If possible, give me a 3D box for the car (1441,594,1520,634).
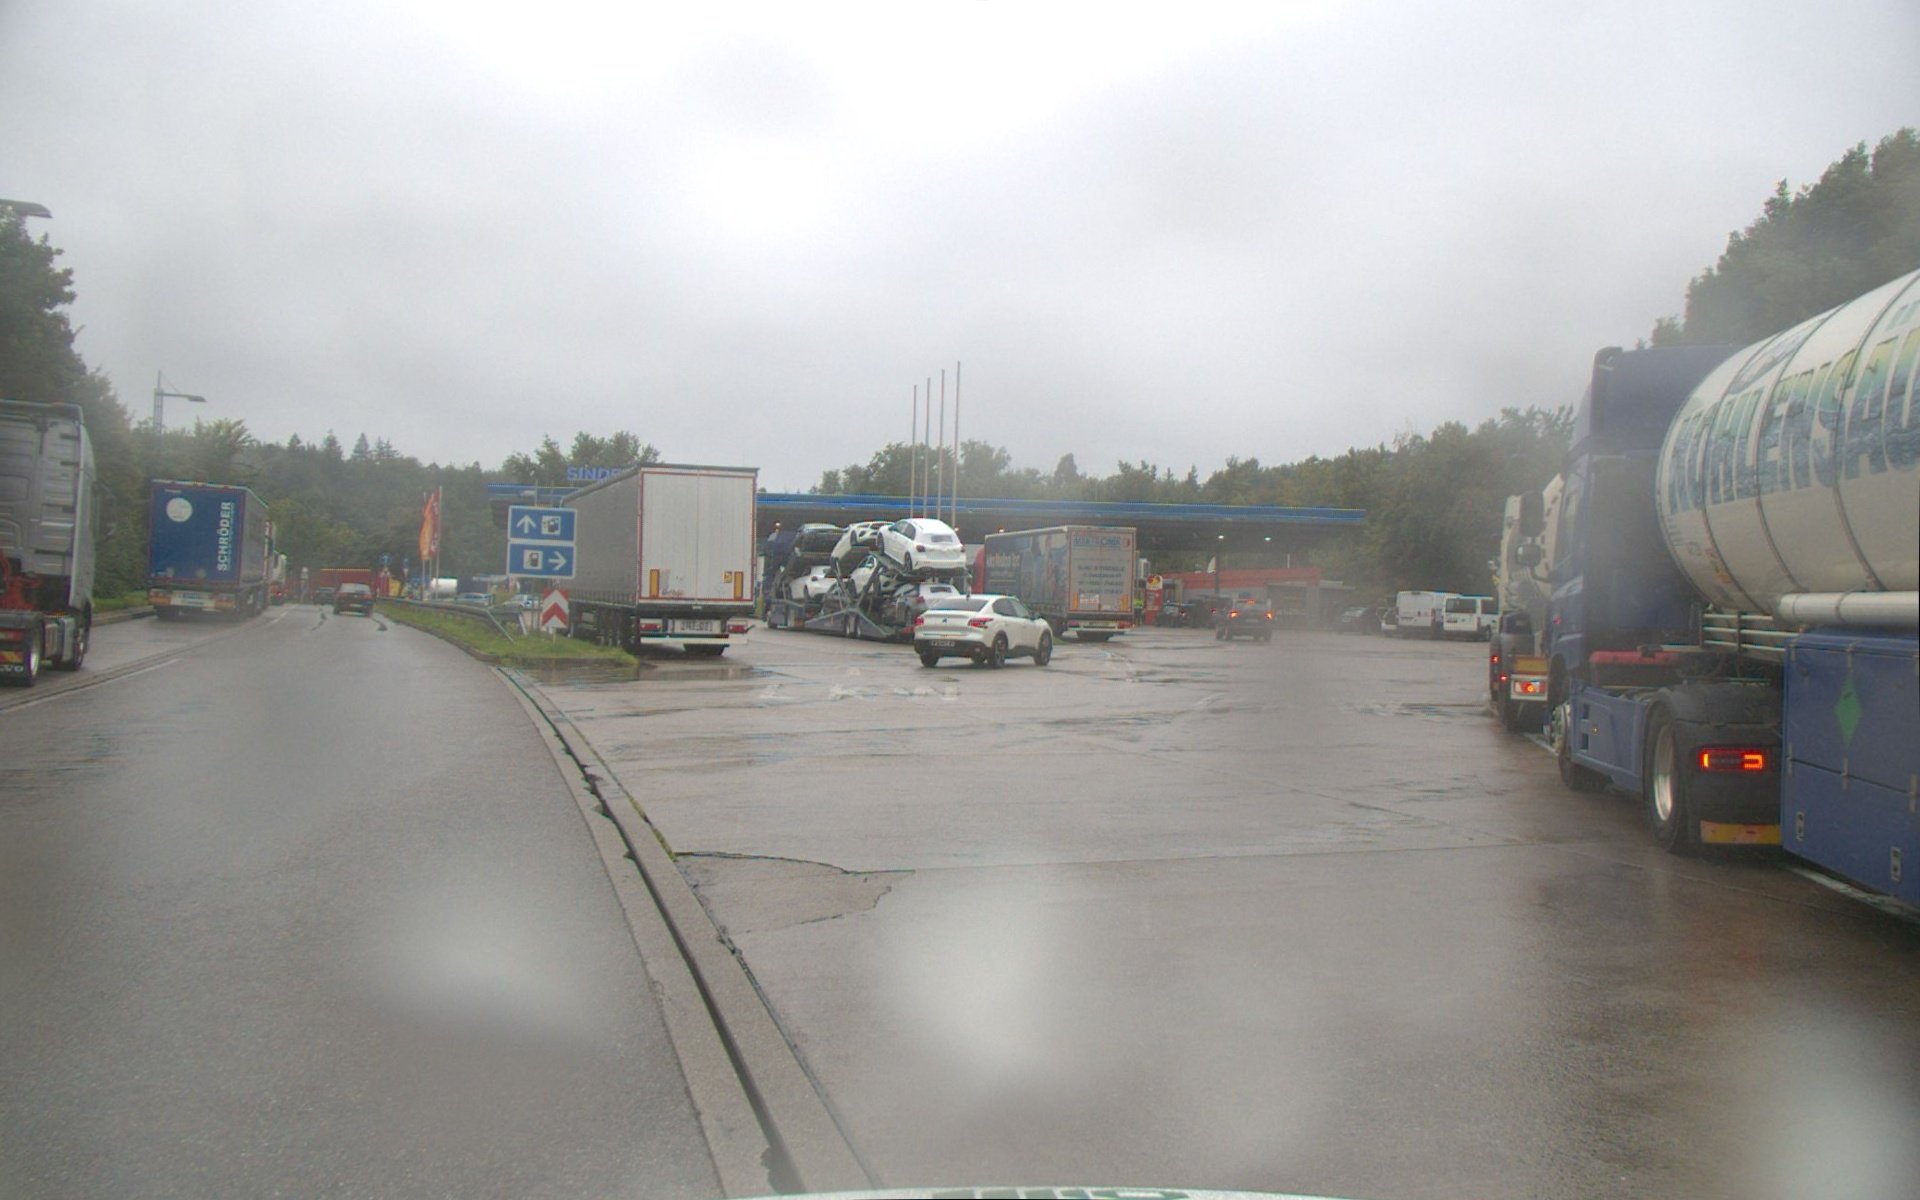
[{"bbox_3d":[23.983,0.623,76.169,2.081,1.758,3.979,1,0,40],"label":"car"}]

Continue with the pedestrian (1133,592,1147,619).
[{"bbox_3d":[10.986,0.347,101.016,0.703,1.548,0.743,3,-3,13],"label":"pedestrian"}]

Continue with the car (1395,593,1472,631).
[{"bbox_3d":[22.515,0.563,78.653,2.081,1.758,3.979,1,0,40],"label":"car"}]

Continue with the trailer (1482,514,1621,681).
[{"bbox_3d":[13.767,-0.054,38.135,2.140,3.451,7.556,1,0,26],"label":"trailer"}]

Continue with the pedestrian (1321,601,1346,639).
[{"bbox_3d":[19.716,1.046,87.201,0.937,1.953,1.086,1,0,32],"label":"pedestrian"}]

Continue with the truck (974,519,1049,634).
[{"bbox_3d":[2.144,-0.939,69.796,1.953,4.629,4.780,2,-1,-12],"label":"truck"}]

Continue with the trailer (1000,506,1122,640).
[{"bbox_3d":[3.666,-0.940,62.665,1.959,4.639,9.779,2,0,-12],"label":"trailer"}]

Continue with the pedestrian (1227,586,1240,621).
[{"bbox_3d":[16.126,0.213,97.496,0.574,2.049,0.638,3,-3,4],"label":"pedestrian"}]

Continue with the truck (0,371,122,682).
[{"bbox_3d":[-14.154,-0.990,23.803,2.872,3.972,6.280,1,0,-20],"label":"truck"}]

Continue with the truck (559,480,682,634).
[{"bbox_3d":[-9.596,-1.153,46.265,2.336,3.941,6.970,1,0,-20],"label":"truck"}]

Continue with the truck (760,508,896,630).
[{"bbox_3d":[-5.190,-1.167,63.315,3.184,4.261,8.401,2,0,-18],"label":"truck"}]

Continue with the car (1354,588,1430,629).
[{"bbox_3d":[21.532,0.430,82.418,2.081,1.970,4.169,1,0,40],"label":"car"}]

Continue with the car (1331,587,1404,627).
[{"bbox_3d":[21.285,0.361,86.297,2.081,1.970,4.169,1,0,40],"label":"car"}]

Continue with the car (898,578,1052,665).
[{"bbox_3d":[0.380,0.420,35.232,1.953,1.708,4.000,1,0,22],"label":"car"}]

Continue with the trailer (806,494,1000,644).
[{"bbox_3d":[-2.140,-0.976,53.888,3.166,4.262,11.471,2,0,-18],"label":"trailer"}]

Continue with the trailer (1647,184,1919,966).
[{"bbox_3d":[4.871,-0.104,6.131,1.938,3.281,10.329,2,0,10],"label":"trailer"}]

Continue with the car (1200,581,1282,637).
[{"bbox_3d":[11.272,0.395,66.561,1.957,2.049,3.990,4,-2,-10],"label":"car"}]

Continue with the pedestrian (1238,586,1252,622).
[{"bbox_3d":[16.577,0.227,96.141,0.655,2.049,0.743,3,-3,13],"label":"pedestrian"}]

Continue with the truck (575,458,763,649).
[{"bbox_3d":[-7.396,-1.036,40.280,2.336,3.941,12.381,1,1,-20],"label":"truck"}]

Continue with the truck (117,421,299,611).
[{"bbox_3d":[-24.127,-2.523,53.804,4.724,5.398,10.998,1,0,-22],"label":"truck"}]

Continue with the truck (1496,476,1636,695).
[{"bbox_3d":[10.755,-0.249,29.483,2.101,3.574,4.647,1,0,20],"label":"truck"}]

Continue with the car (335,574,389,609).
[{"bbox_3d":[-28.063,-0.389,77.710,1.846,1.487,3.986,2,-1,-13],"label":"car"}]

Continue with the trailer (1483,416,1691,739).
[{"bbox_3d":[8.584,-0.246,23.122,2.087,3.501,10.256,1,0,19],"label":"trailer"}]

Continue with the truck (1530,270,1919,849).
[{"bbox_3d":[5.879,-0.255,12.682,2.009,3.593,4.750,2,0,10],"label":"truck"}]
